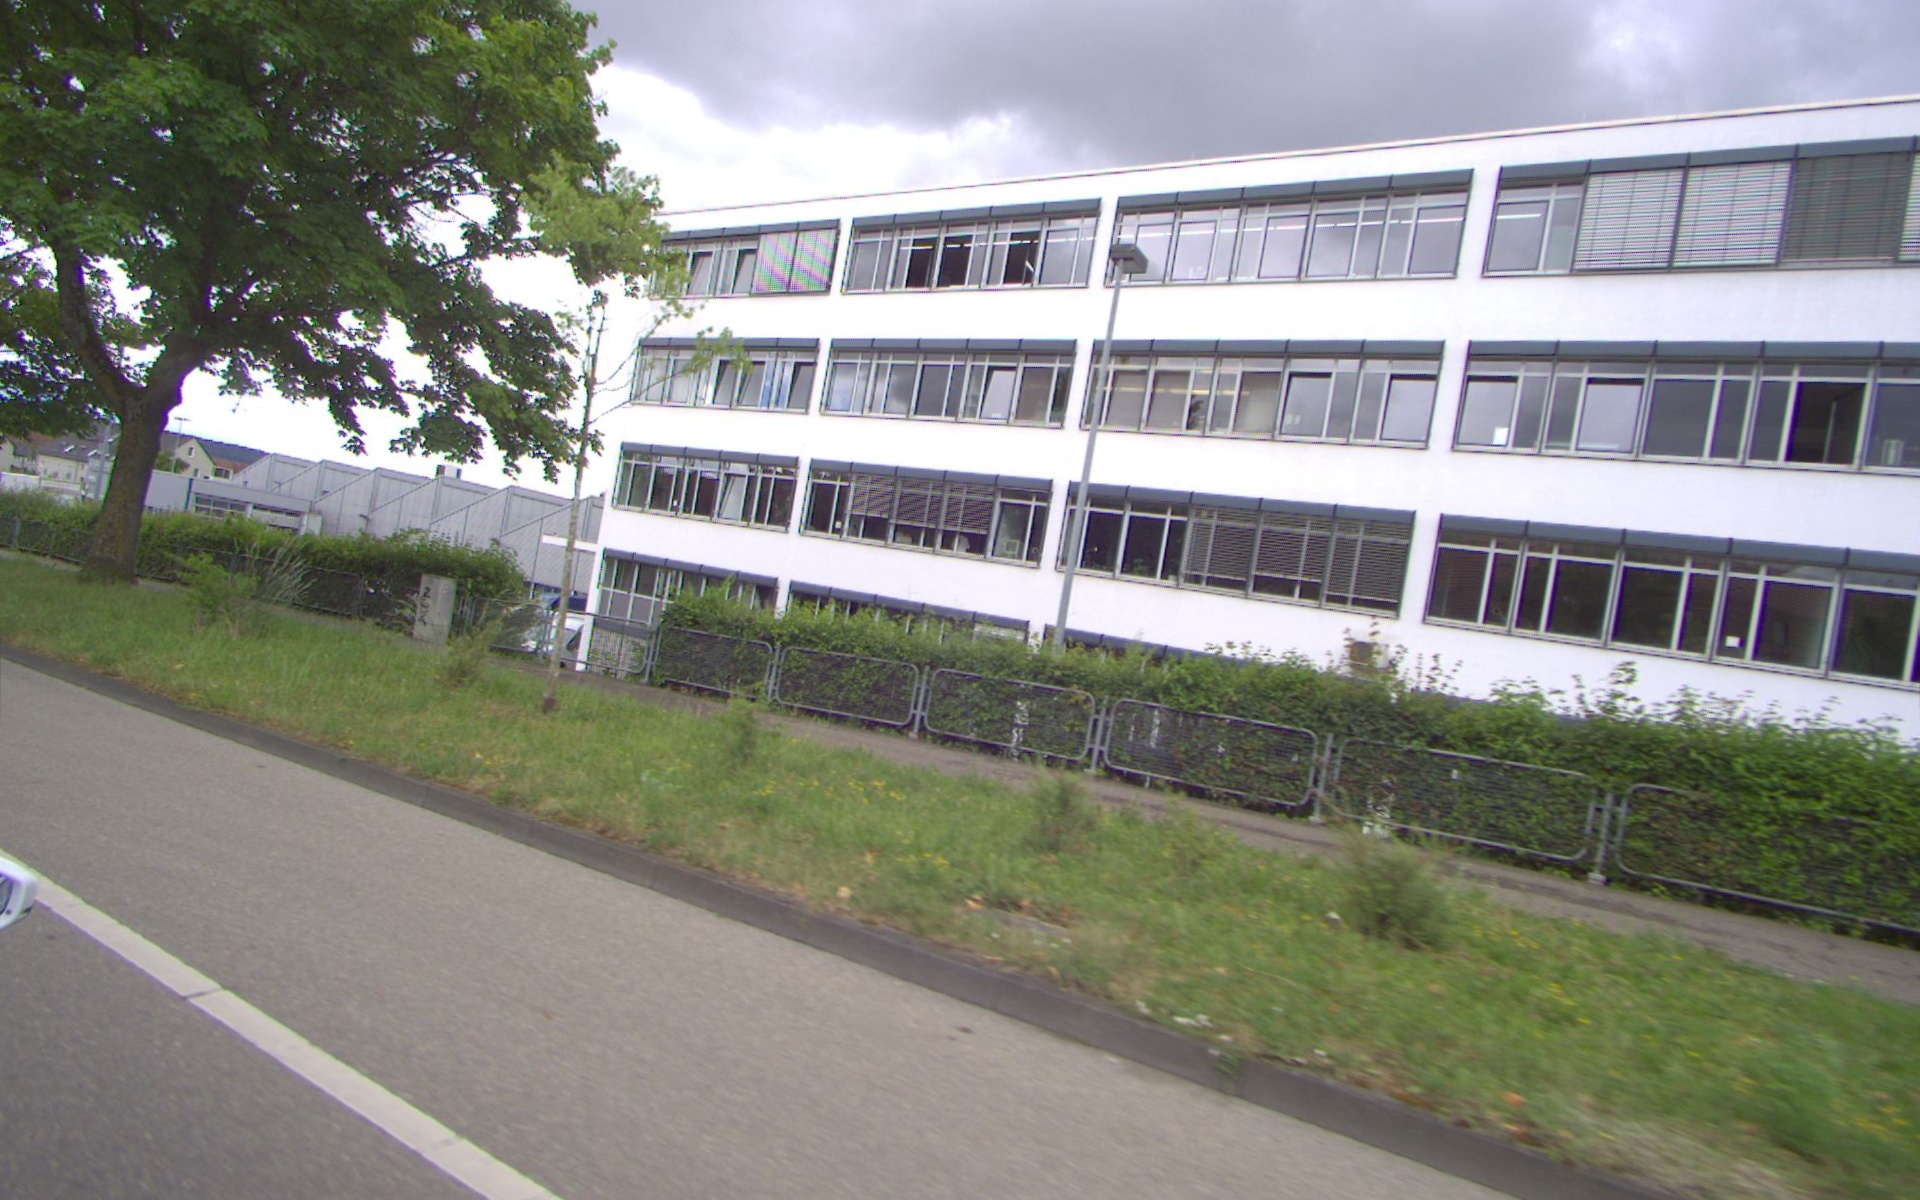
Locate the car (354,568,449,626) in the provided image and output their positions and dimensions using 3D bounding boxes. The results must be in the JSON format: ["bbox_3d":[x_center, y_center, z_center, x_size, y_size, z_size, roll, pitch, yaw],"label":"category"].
[{"bbox_3d":[-26.084,-0.152,46.953,3.934,2.170,1.998,6,-2,32],"label":"car"}]

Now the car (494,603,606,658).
[{"bbox_3d":[-17.992,1.380,44.333,1.968,1.896,3.994,6,-3,34],"label":"car"}]

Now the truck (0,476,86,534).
[{"bbox_3d":[-70.154,-7.277,76.279,9.382,3.498,2.860,6,-2,31],"label":"truck"}]
